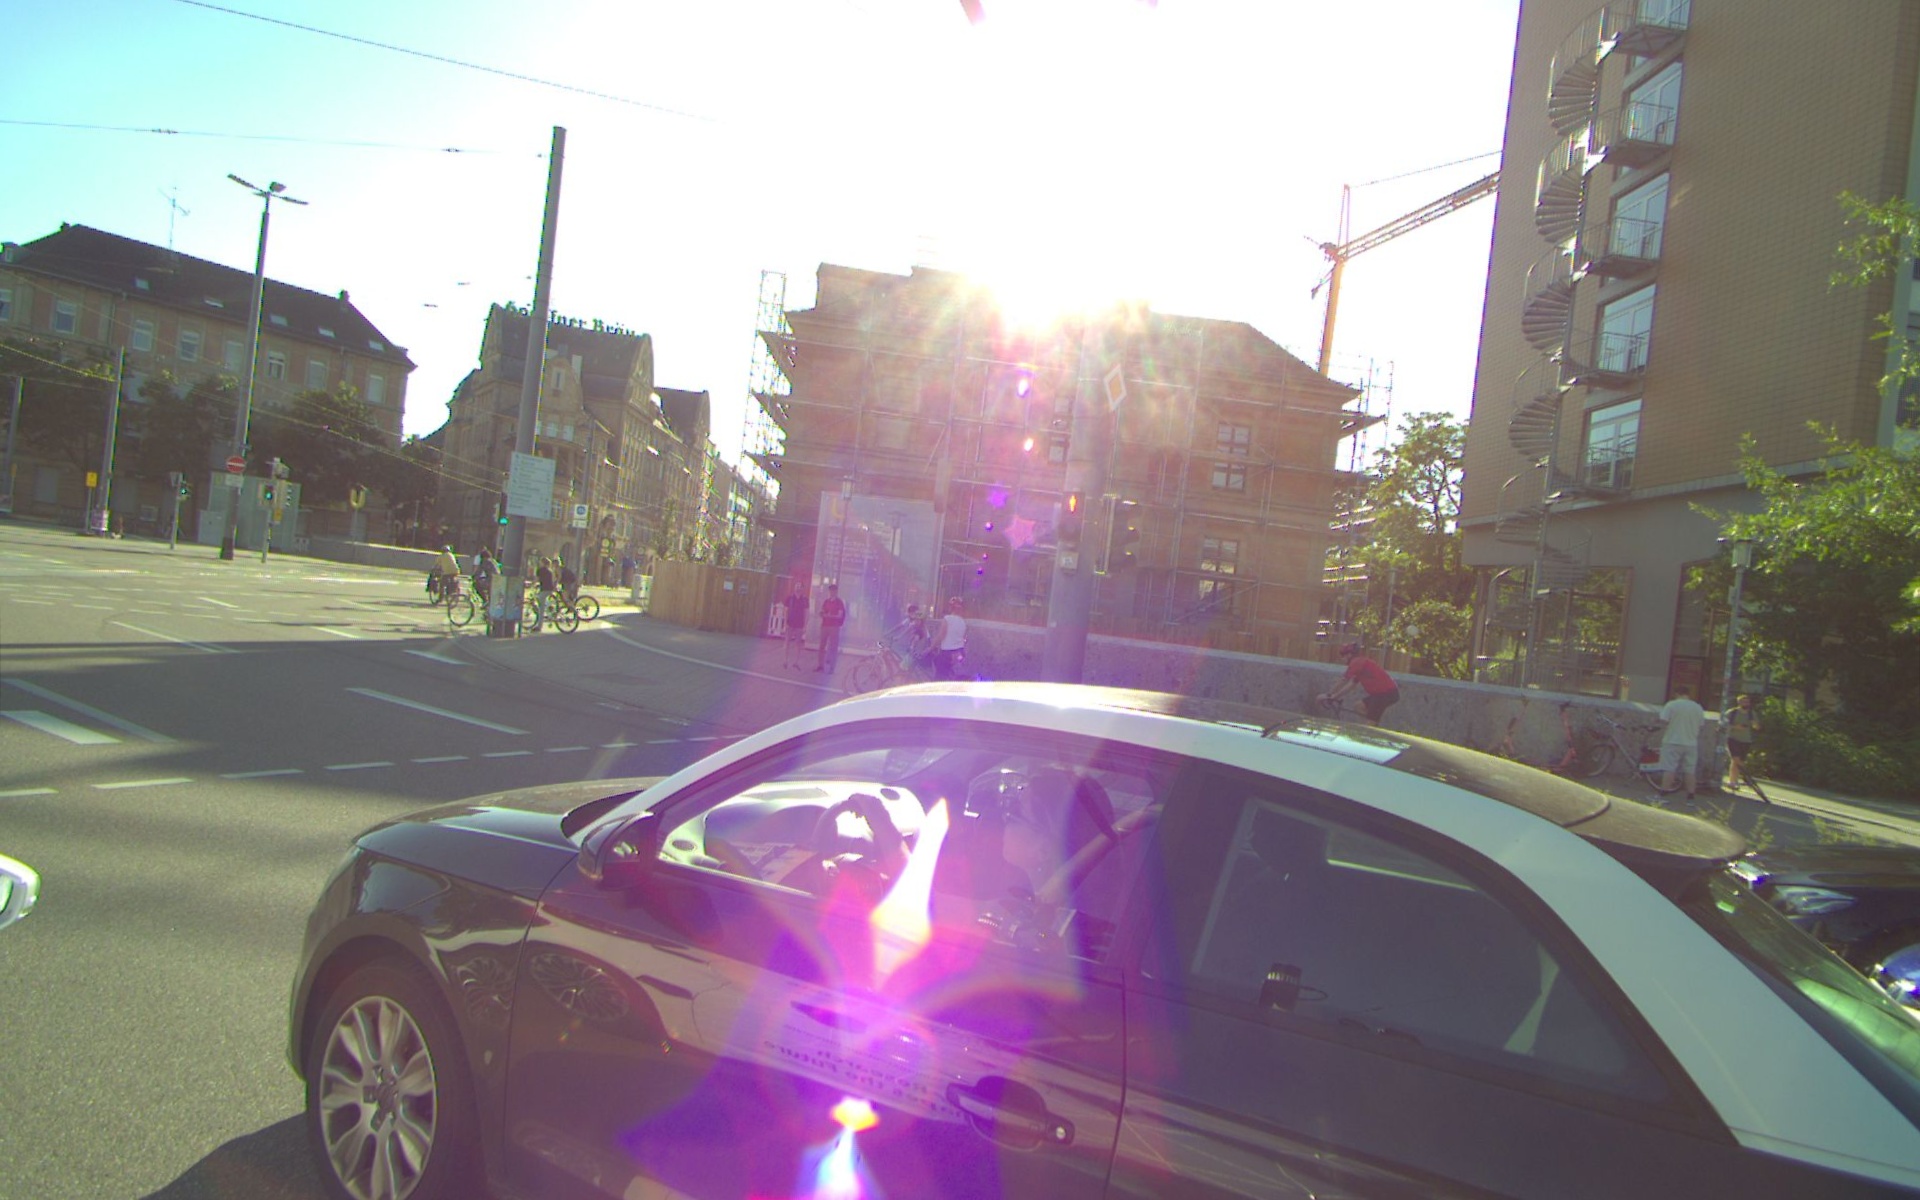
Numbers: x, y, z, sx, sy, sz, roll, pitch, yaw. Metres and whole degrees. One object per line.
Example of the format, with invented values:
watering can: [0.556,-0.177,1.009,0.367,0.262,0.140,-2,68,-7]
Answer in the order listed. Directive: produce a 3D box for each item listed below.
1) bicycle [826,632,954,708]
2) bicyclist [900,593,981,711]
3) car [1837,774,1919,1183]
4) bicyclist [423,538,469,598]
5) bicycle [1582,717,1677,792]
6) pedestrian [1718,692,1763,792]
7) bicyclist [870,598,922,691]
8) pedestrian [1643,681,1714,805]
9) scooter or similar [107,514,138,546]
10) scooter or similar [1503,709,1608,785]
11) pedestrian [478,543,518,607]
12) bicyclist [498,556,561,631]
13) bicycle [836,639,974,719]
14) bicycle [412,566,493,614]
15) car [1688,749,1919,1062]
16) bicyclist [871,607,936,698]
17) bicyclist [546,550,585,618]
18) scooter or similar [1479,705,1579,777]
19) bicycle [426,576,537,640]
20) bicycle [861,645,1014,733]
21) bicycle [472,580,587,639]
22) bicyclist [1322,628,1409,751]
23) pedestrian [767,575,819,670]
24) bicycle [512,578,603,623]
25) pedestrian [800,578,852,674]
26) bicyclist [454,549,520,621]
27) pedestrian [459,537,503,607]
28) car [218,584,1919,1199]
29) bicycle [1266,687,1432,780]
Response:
bicycle: [-1.162,1.169,16.978,1.997,0.976,0.660,7,2,2]
bicyclist: [-0.269,0.747,14.400,0.780,1.571,0.668,6,-2,25]
car: [5.320,1.573,2.830,3.932,1.420,1.628,6,-2,29]
bicyclist: [-14.639,-0.899,28.674,0.930,1.575,0.517,6,-1,22]
bicycle: [10.715,2.467,16.129,0.352,1.015,1.149,8,-2,-31]
pedestrian: [14.265,2.577,18.399,0.369,1.752,0.445,6,-1,14]
bicyclist: [-1.068,0.754,16.974,0.661,1.471,0.618,7,-1,0]
pedestrian: [10.434,2.057,14.633,0.591,1.662,0.677,6,2,27]
scooter or similar: [-39.931,-3.344,47.969,1.883,1.392,0.785,5,-2,44]
scooter or similar: [9.628,2.361,16.305,1.347,1.007,0.342,6,-1,22]
pedestrian: [-14.786,-0.796,32.187,0.677,1.944,0.649,6,-1,22]
bicyclist: [-9.914,-0.147,23.197,0.929,1.575,0.711,7,-1,6]
bicycle: [-0.870,1.214,15.766,1.998,0.976,0.659,6,1,24]
bicycle: [-14.409,-0.290,28.544,2.277,1.061,0.536,8,-1,21]
car: [6.659,1.848,5.144,4.433,1.420,1.728,6,-2,28]
bicyclist: [-0.888,0.834,15.789,0.661,1.330,0.618,6,-2,25]
bicyclist: [-11.121,-0.437,28.375,0.785,1.800,0.520,7,-2,-26]
scooter or similar: [9.634,2.385,17.057,1.346,1.007,0.343,7,-1,10]
bicycle: [-10.615,0.176,22.320,2.277,1.061,0.701,8,-1,19]
bicycle: [-0.332,1.253,14.378,1.998,0.974,0.660,6,-2,24]
bicycle: [-9.903,0.229,23.179,2.276,1.061,0.702,7,-2,5]
bicyclist: [5.634,1.236,13.972,0.857,1.578,0.616,6,-2,35]
pedestrian: [-3.376,0.457,20.389,0.672,1.830,0.672,7,1,8]
bicycle: [-11.312,0.031,28.301,2.291,1.063,0.532,5,2,-27]
pedestrian: [-2.695,0.537,20.264,0.672,1.828,0.673,7,-1,8]
bicyclist: [-10.477,-0.321,22.296,0.929,1.456,0.711,6,-2,18]
pedestrian: [-14.977,-0.863,31.466,0.747,2.037,0.733,6,-1,22]
car: [0.405,0.918,2.163,3.932,1.420,1.628,6,-2,29]
bicycle: [5.408,1.833,14.051,2.003,0.975,0.658,5,0,35]
